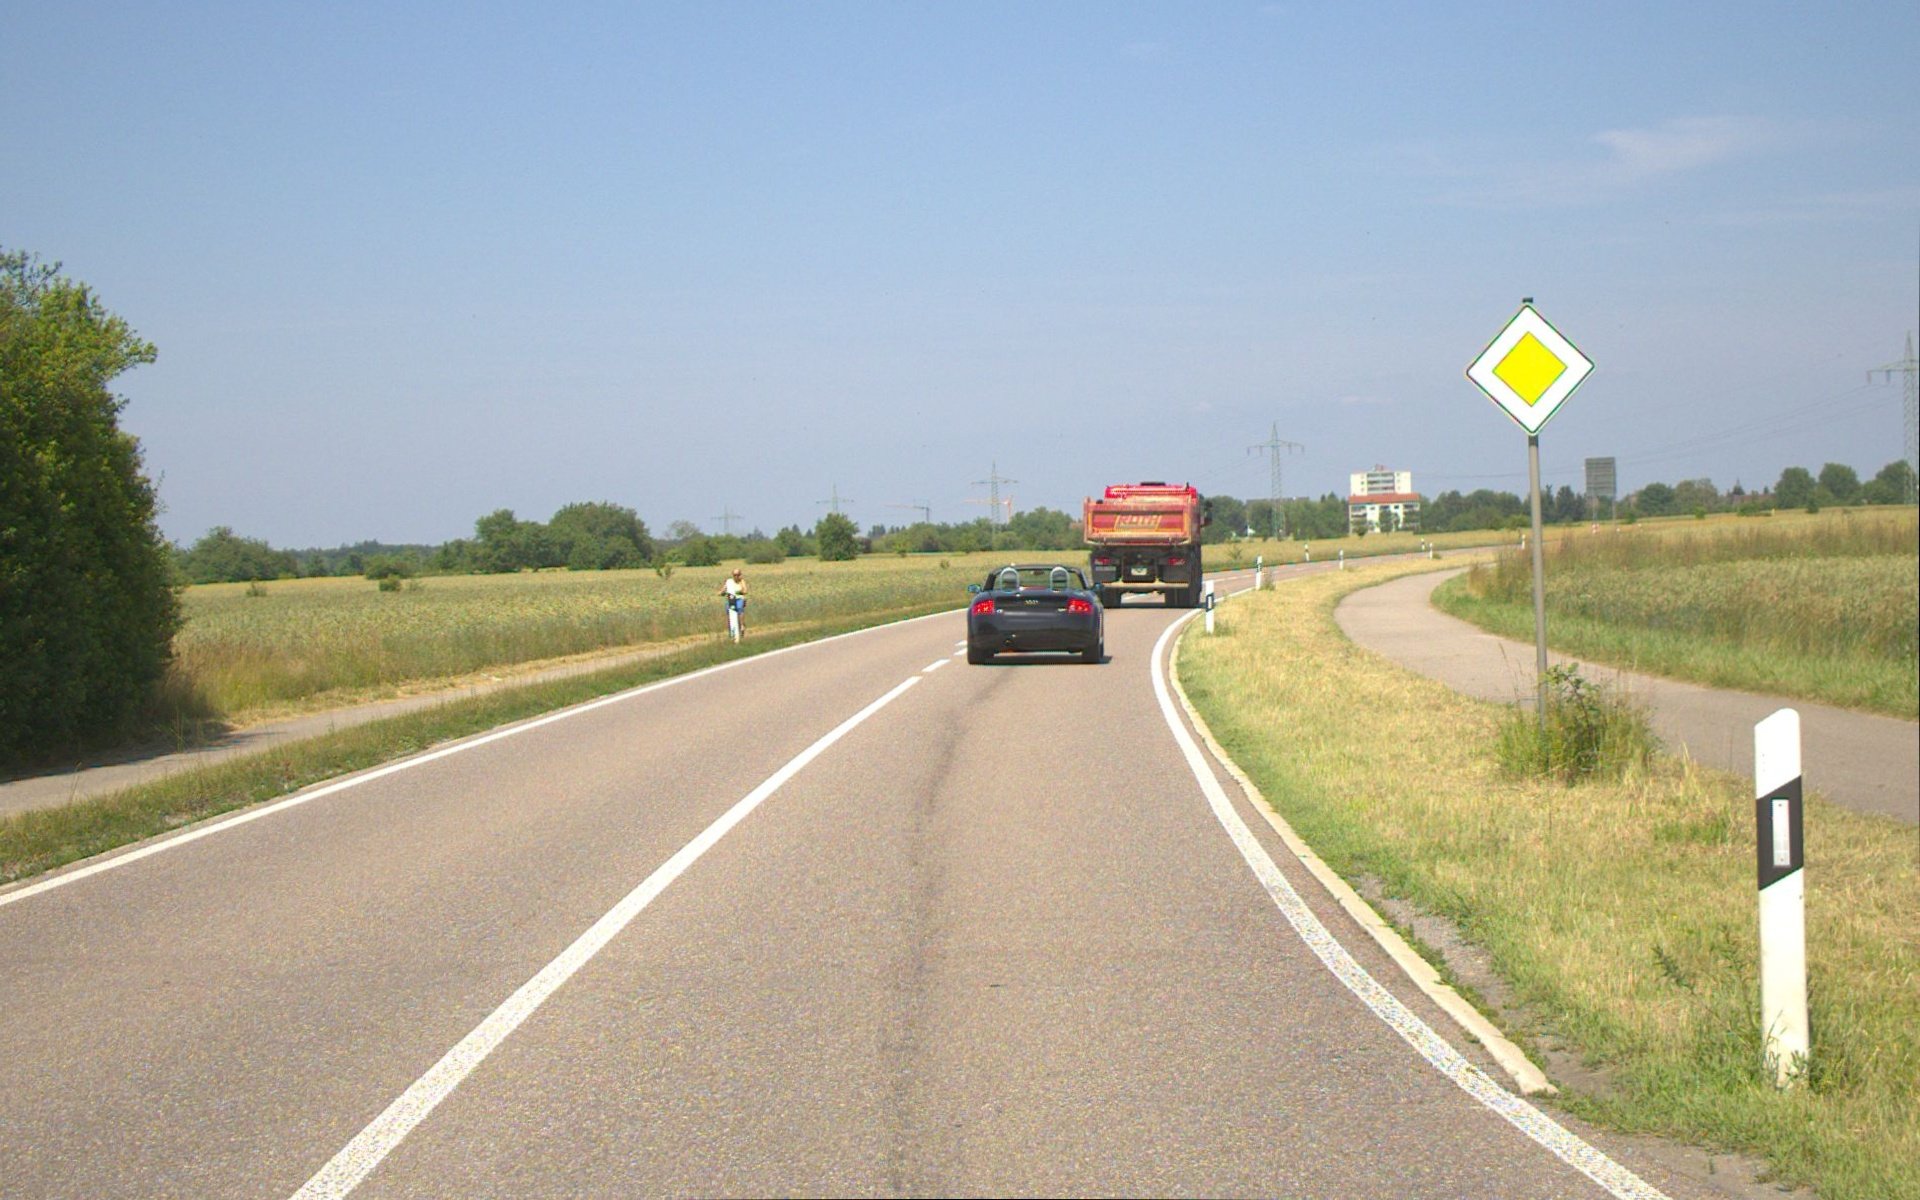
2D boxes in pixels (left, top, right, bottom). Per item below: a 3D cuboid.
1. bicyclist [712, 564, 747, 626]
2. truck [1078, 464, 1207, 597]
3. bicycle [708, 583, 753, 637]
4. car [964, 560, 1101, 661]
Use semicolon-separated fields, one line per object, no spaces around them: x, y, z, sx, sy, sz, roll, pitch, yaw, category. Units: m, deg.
-5.352;-0.124;79.970;0.664;1.433;0.823;-1;1;5;bicyclist
4.552;-1.660;84.378;2.938;3.078;7.195;-1;0;4;truck
-5.340;0.233;80.024;0.694;1.172;1.963;-3;1;5;bicycle
0.949;0.107;46.014;1.744;1.275;4.000;-1;1;0;car
